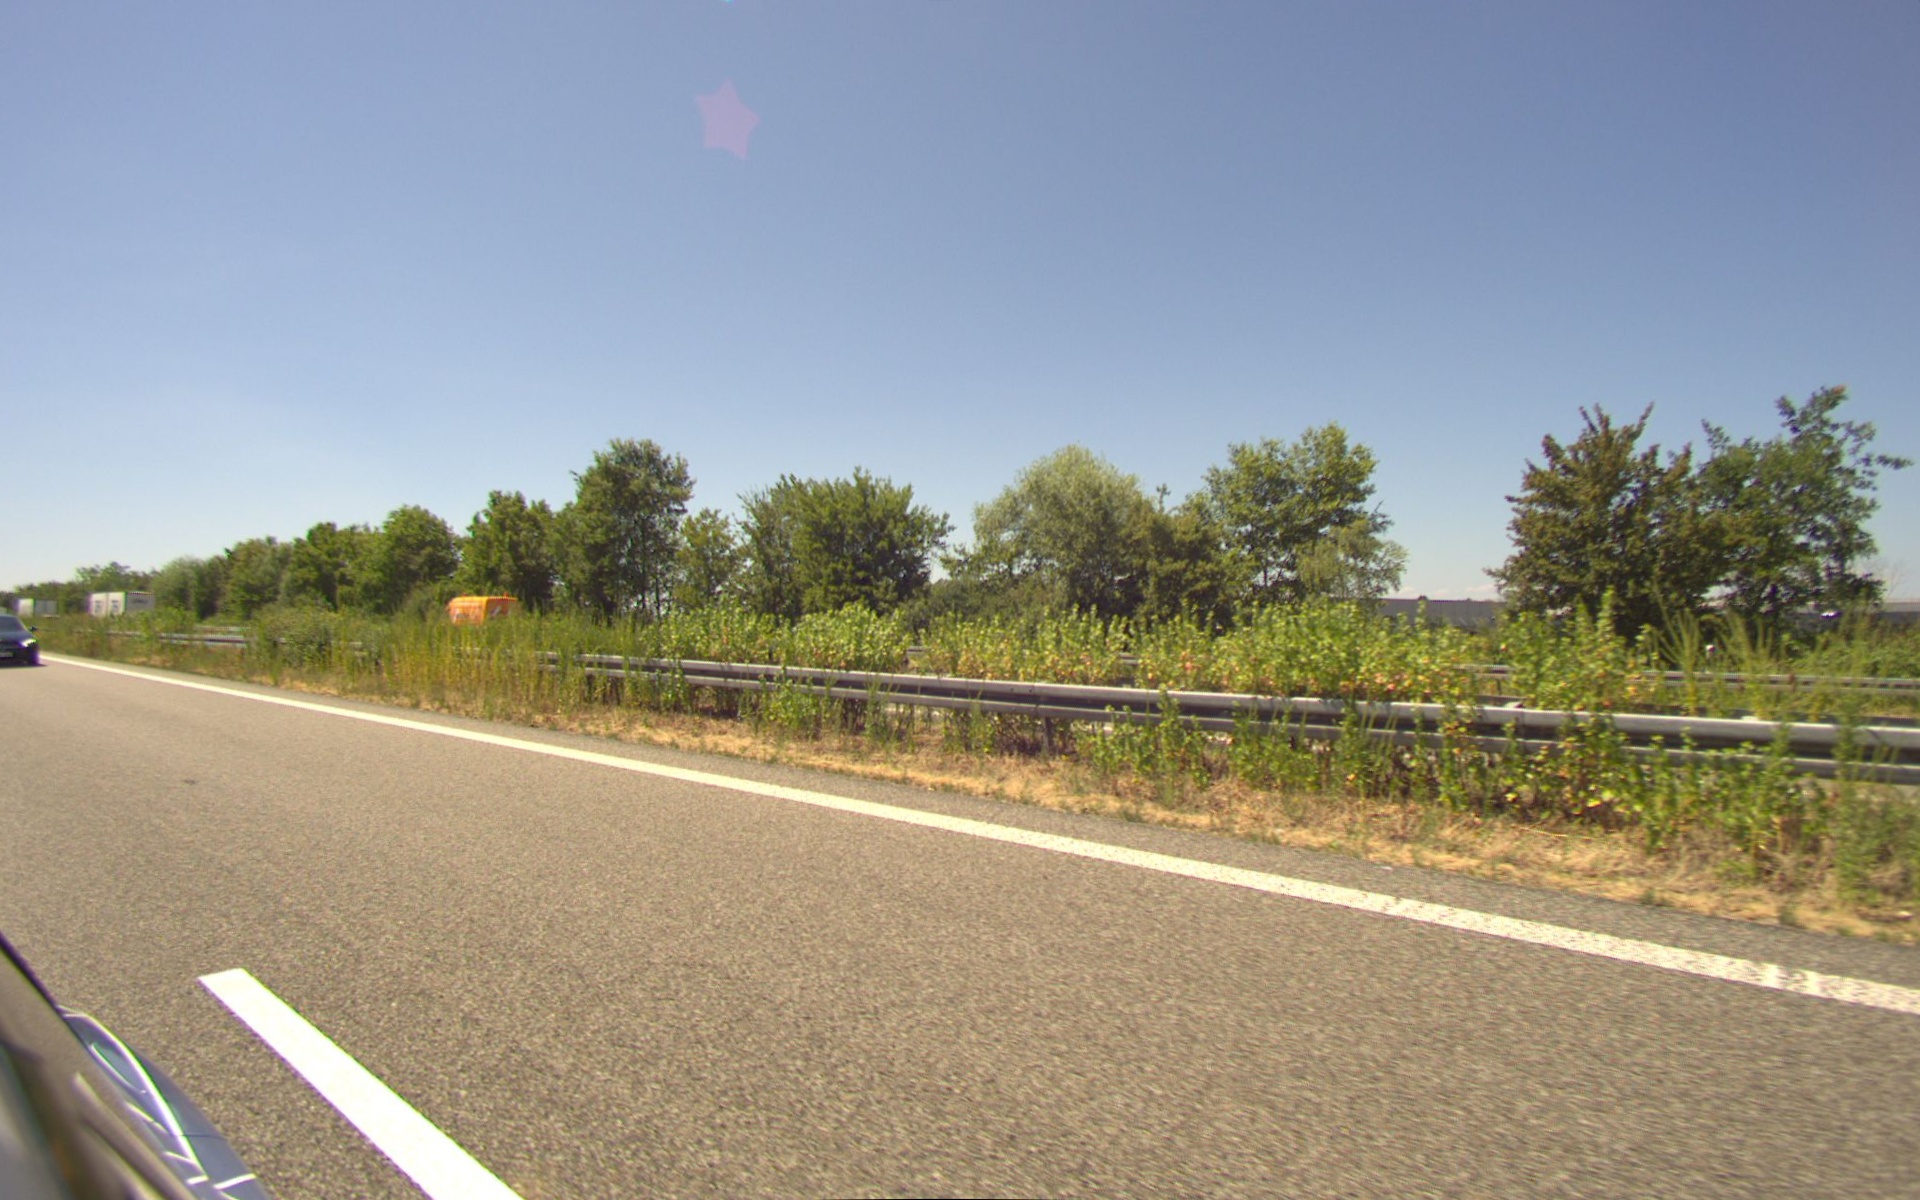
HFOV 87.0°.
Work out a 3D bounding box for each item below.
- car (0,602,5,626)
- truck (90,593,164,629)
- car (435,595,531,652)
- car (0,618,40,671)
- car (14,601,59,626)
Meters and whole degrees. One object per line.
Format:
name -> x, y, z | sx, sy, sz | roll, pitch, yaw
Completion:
car -> -136.617, 1.961, 141.541 | 8.508, 3.318, 3.471 | -1, 0, 40
truck -> -83.328, 1.073, 101.190 | 10.684, 3.464, 4.068 | -1, 0, 41
car -> -22.078, 1.085, 46.786 | 4.953, 2.455, 2.159 | -1, -3, 41
car -> -26.977, 1.202, 28.014 | 4.051, 1.422, 1.773 | -1, -1, 41
car -> -126.412, 1.833, 138.525 | 8.508, 3.318, 3.471 | -1, 0, 40
